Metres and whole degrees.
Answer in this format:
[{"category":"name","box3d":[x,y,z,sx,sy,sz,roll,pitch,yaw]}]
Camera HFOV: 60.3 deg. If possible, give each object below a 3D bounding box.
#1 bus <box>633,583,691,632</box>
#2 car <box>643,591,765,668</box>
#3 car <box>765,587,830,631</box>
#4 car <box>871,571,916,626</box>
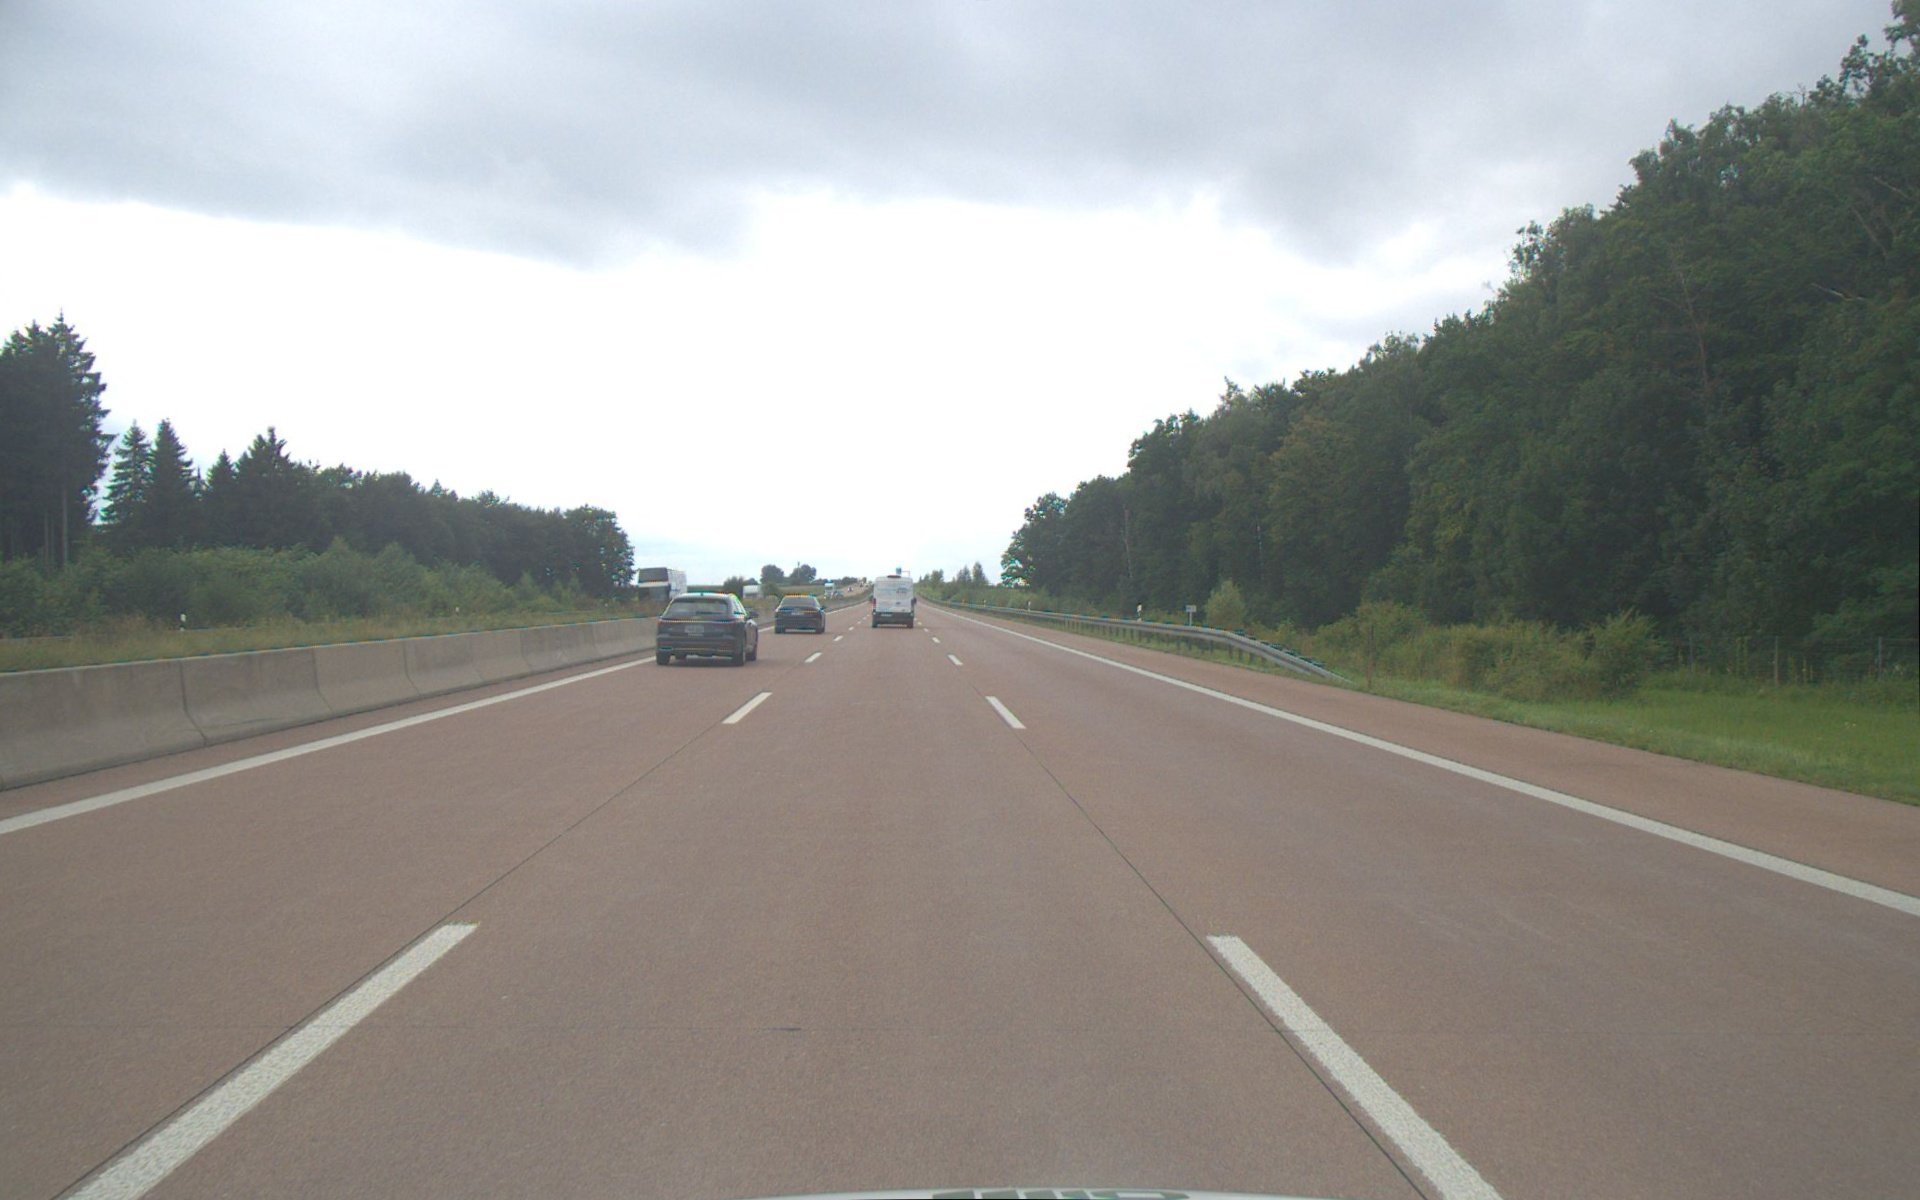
[{"category":"bus","box3d":[-25.243,0.584,140.769,2.988,3.956,14.353,1,0,-3]},{"category":"car","box3d":[-5.463,0.577,35.967,2.018,1.517,5.450,1,0,-3]},{"category":"car","box3d":[-6.395,0.315,65.686,2.043,1.577,5.673,2,1,-1]},{"category":"car","box3d":[-3.248,-0.117,81.453,2.094,2.550,7.129,0,1,-2]}]
